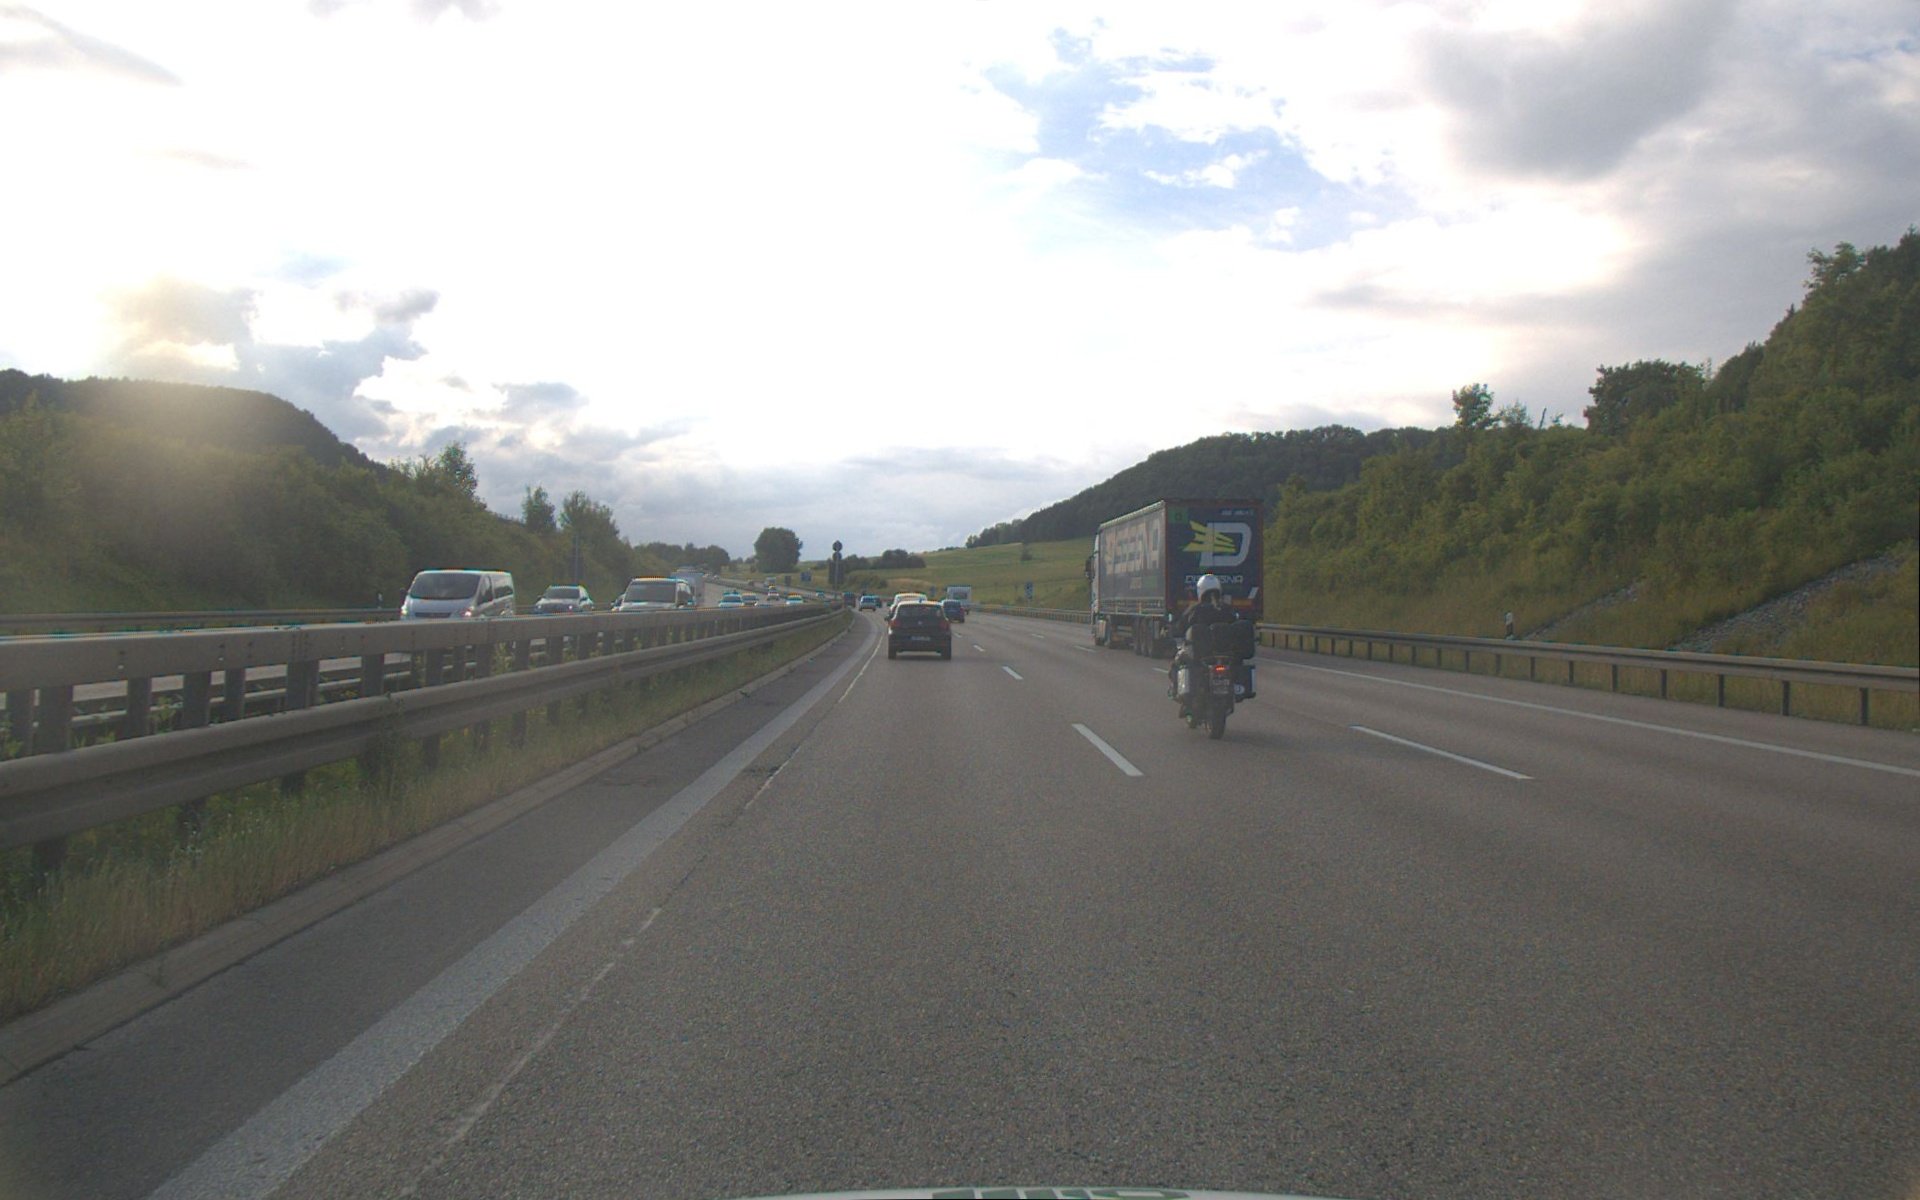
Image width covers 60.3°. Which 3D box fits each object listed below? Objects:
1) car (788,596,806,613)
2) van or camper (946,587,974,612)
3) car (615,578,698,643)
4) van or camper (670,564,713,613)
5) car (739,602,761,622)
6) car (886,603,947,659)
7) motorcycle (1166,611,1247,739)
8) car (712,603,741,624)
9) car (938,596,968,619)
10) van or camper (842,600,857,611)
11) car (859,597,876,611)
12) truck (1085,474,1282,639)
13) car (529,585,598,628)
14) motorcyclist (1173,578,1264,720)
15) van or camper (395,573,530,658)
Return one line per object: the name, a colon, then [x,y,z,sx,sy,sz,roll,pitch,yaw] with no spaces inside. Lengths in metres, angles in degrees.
car: [-16.344,0.430,166.401,1.610,1.685,4.342,0,0,-3]
van or camper: [-0.026,-0.067,155.804,2.496,2.278,5.327,0,0,-1]
car: [-9.453,0.312,51.869,1.890,1.925,4.343,0,0,-1]
van or camper: [-20.625,-0.883,127.314,2.432,3.614,7.972,1,0,-3]
car: [-18.404,1.015,145.148,1.610,1.685,4.342,0,0,-3]
car: [-1.140,0.786,43.222,1.507,1.371,3.676,0,0,-1]
motorcycle: [2.768,0.816,18.724,0.614,1.362,1.739,1,0,-1]
car: [-16.138,0.925,114.588,1.610,1.461,4.342,0,0,-3]
car: [-0.483,0.483,106.797,1.732,1.458,3.997,1,0,-3]
van or camper: [-14.812,0.717,220.995,1.928,1.458,3.996,1,0,-5]
car: [-9.947,0.398,177.973,1.732,1.458,3.996,0,0,-5]
truck: [6.218,-1.088,49.821,2.905,4.062,17.724,0,0,-2]
car: [-17.060,0.266,71.345,1.890,1.752,4.877,0,0,-1]
motorcyclist: [2.881,0.537,18.517,0.859,1.541,0.797,1,-1,-1]
van or camper: [-12.232,0.353,41.053,1.811,1.973,5.399,0,0,-1]
